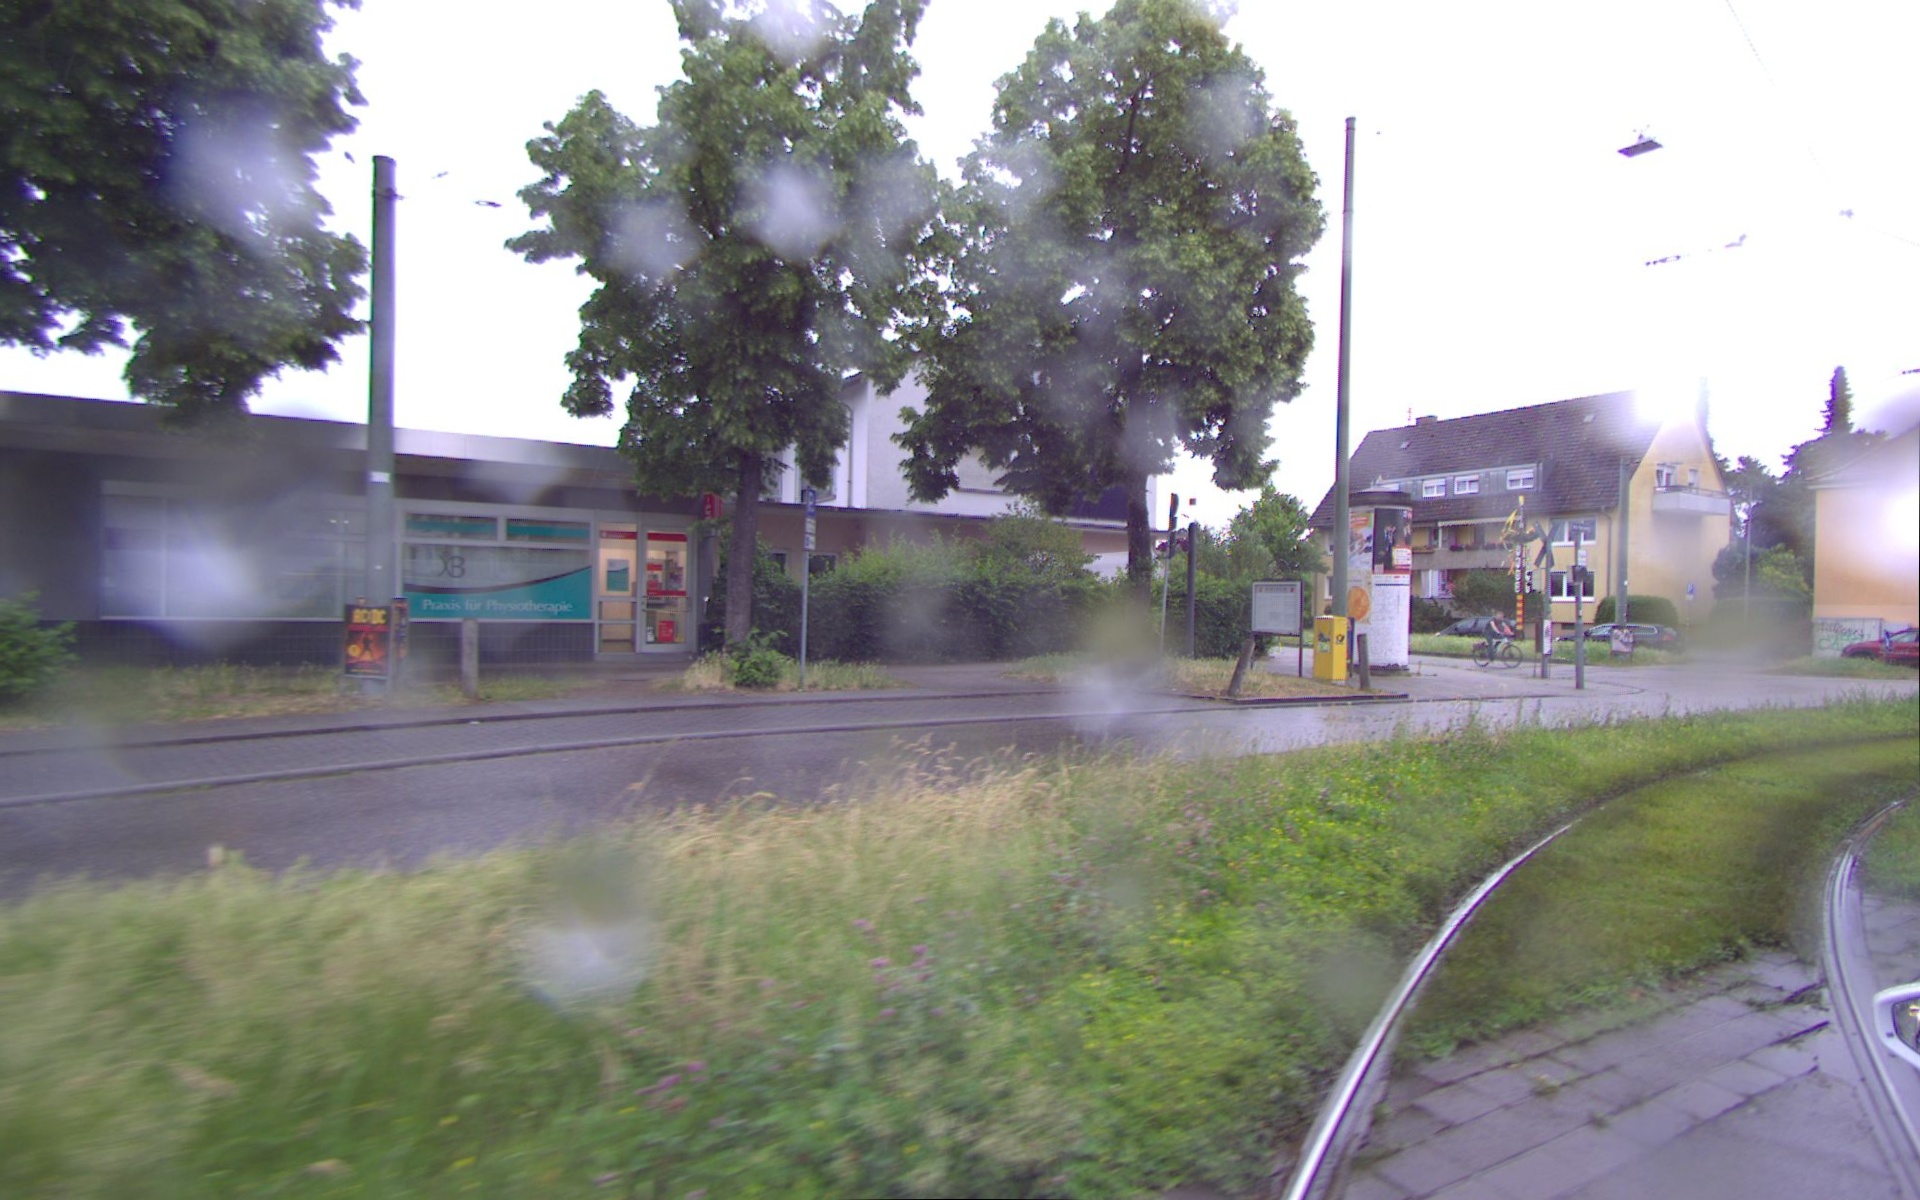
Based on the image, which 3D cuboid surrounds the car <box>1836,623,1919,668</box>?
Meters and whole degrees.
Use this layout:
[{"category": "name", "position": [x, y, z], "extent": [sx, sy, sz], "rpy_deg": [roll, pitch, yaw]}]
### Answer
[{"category": "car", "position": [32.304, 1.564, 34.053], "extent": [1.705, 1.357, 3.583], "rpy_deg": [1, 2, -33]}]

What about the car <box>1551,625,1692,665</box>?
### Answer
[{"category": "car", "position": [27.206, 1.821, 41.471], "extent": [1.946, 1.415, 4.465], "rpy_deg": [1, 0, -33]}]

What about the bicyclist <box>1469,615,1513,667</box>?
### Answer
[{"category": "bicyclist", "position": [16.814, 1.278, 31.784], "extent": [0.825, 1.579, 0.905], "rpy_deg": [2, 0, -34]}]

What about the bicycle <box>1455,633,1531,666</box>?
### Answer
[{"category": "bicycle", "position": [16.823, 1.556, 31.763], "extent": [0.815, 0.924, 1.967], "rpy_deg": [2, 0, -33]}]

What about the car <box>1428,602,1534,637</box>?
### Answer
[{"category": "car", "position": [23.900, 0.861, 46.226], "extent": [1.741, 1.350, 3.962], "rpy_deg": [1, 2, -34]}]
